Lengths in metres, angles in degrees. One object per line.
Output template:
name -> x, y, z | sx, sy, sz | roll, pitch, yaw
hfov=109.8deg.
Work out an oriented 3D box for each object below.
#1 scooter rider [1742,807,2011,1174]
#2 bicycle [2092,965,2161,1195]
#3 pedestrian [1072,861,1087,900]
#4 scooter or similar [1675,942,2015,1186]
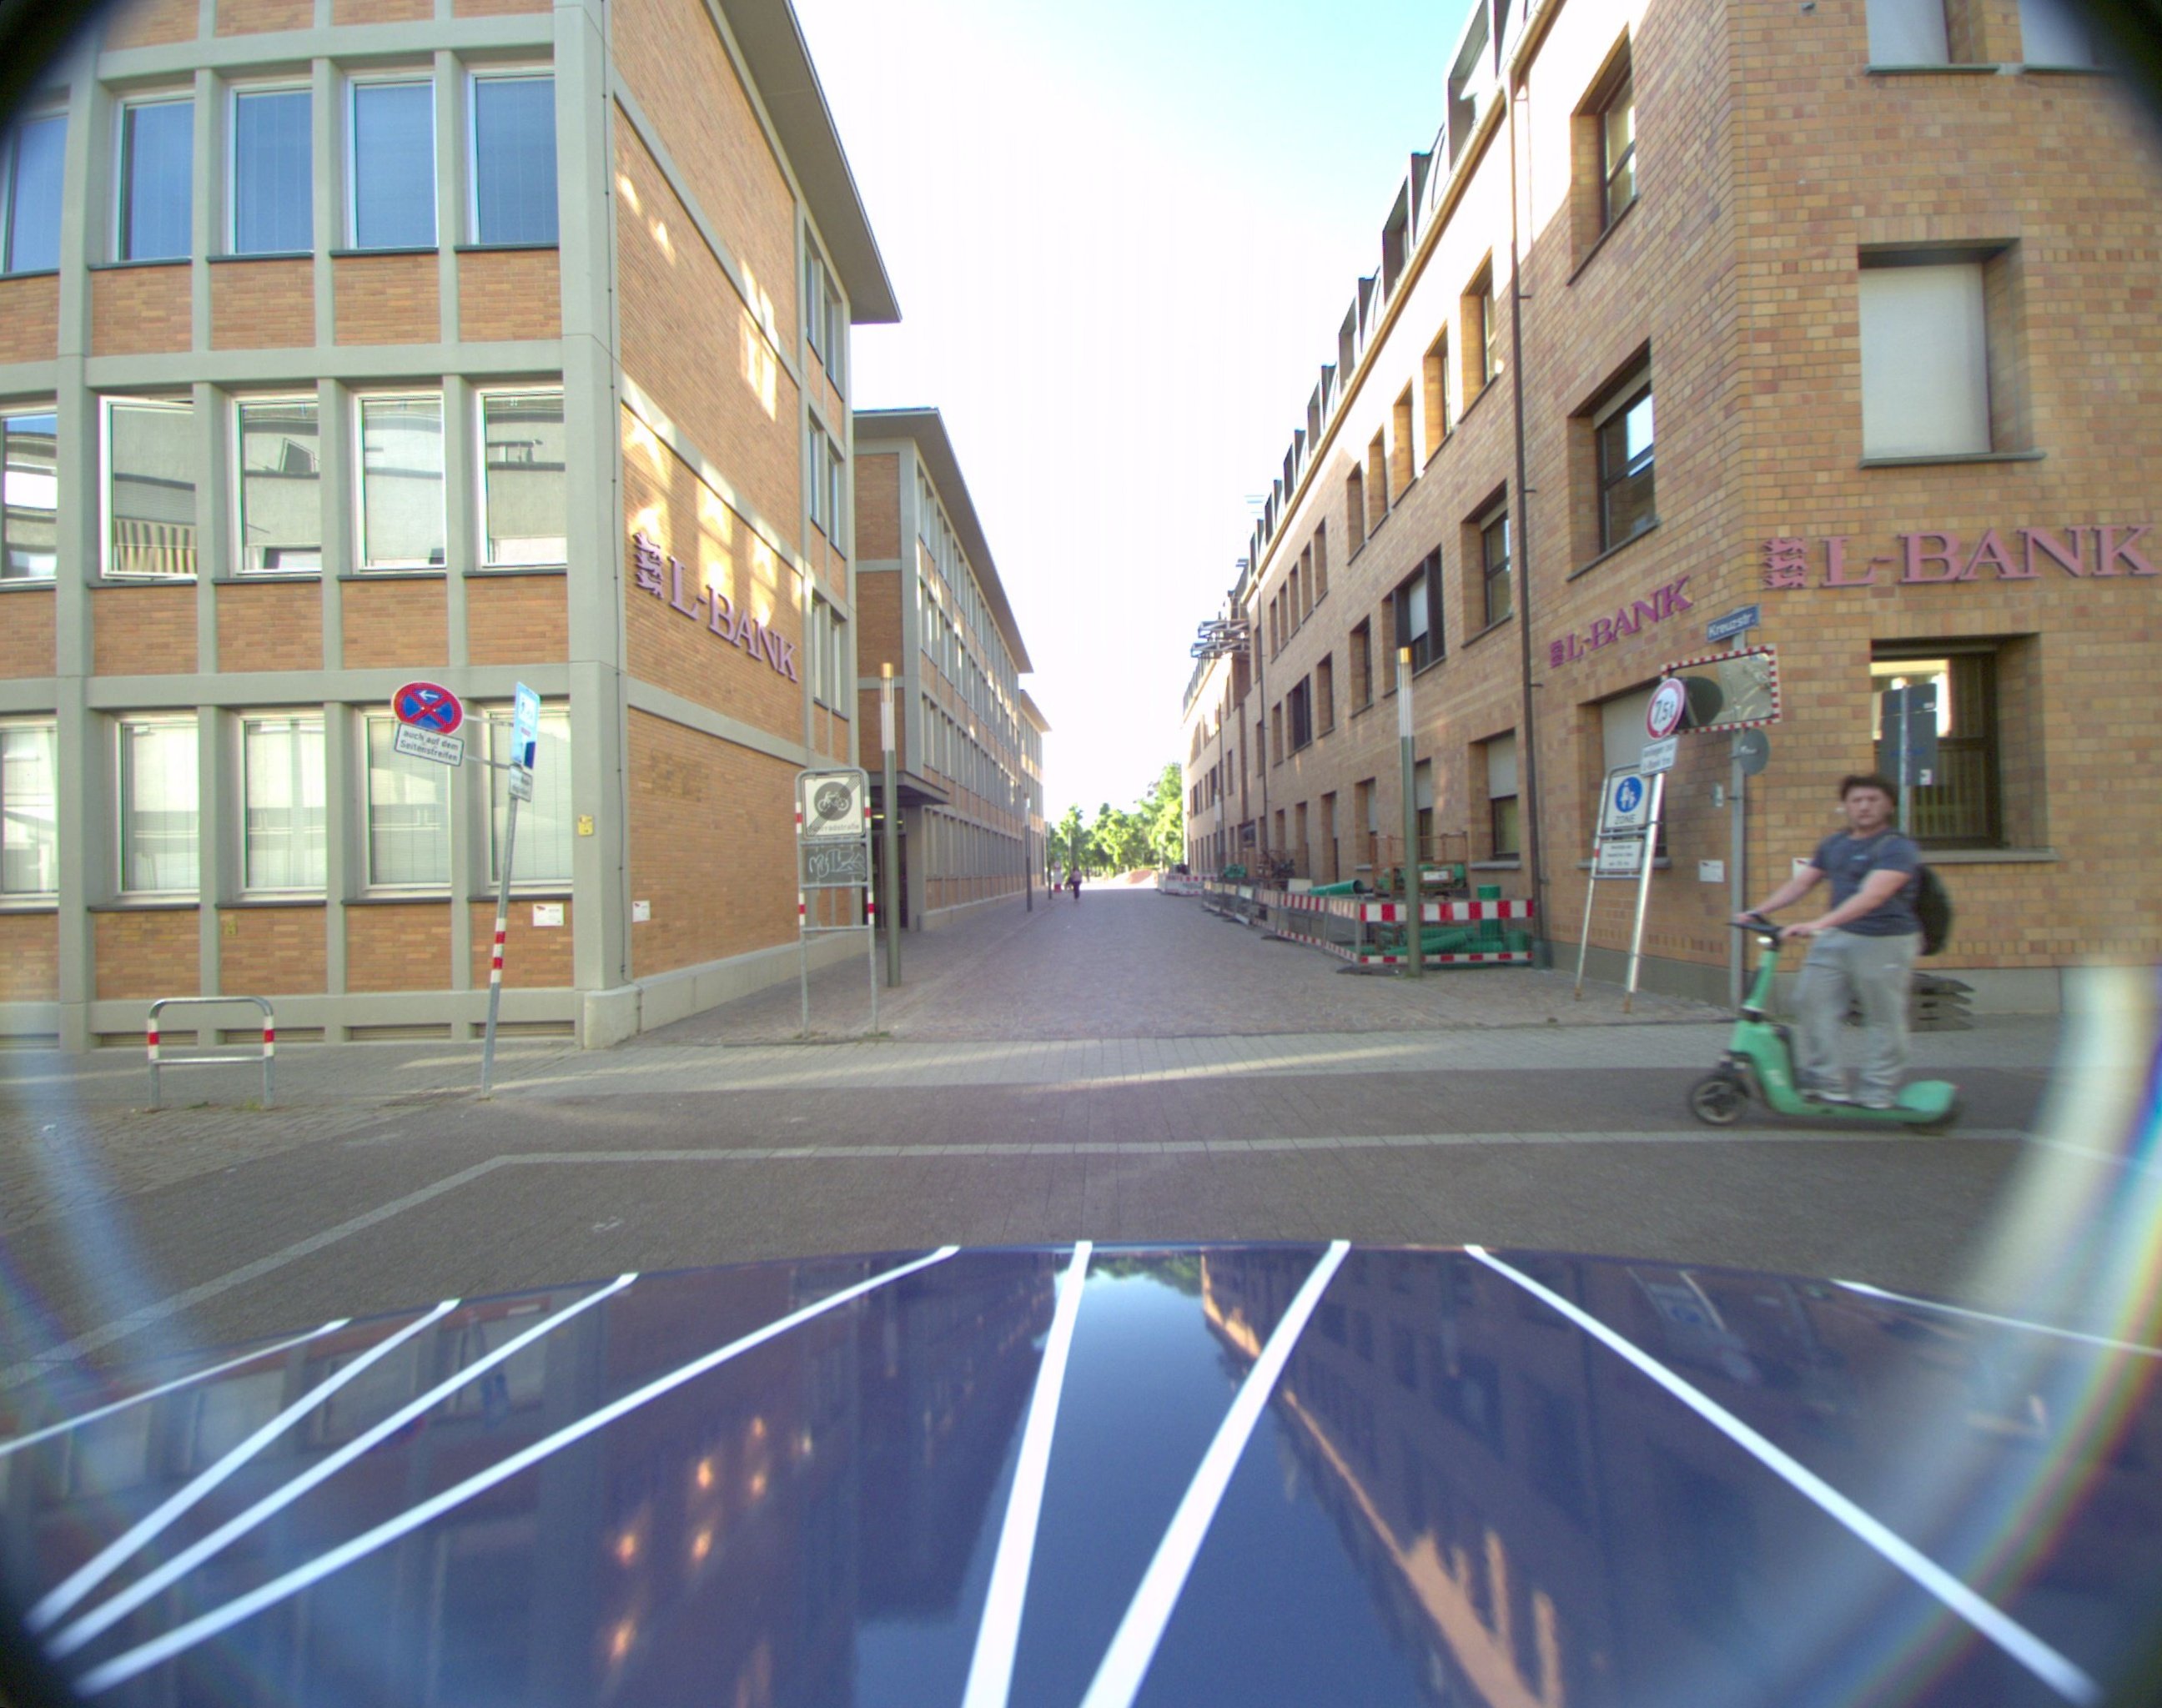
scooter rider -> 4.051, 0.643, 3.933 | 0.701, 1.716, 0.649 | 0, 0, 10
bicycle -> 5.946, 1.046, 3.454 | 1.799, 1.045, 0.591 | -2, -2, 1
pedestrian -> -0.075, 1.239, 35.070 | 0.638, 1.774, 0.652 | -1, -3, 2
scooter or similar -> 4.002, 1.070, 4.046 | 1.277, 1.178, 0.337 | -1, -3, 10
